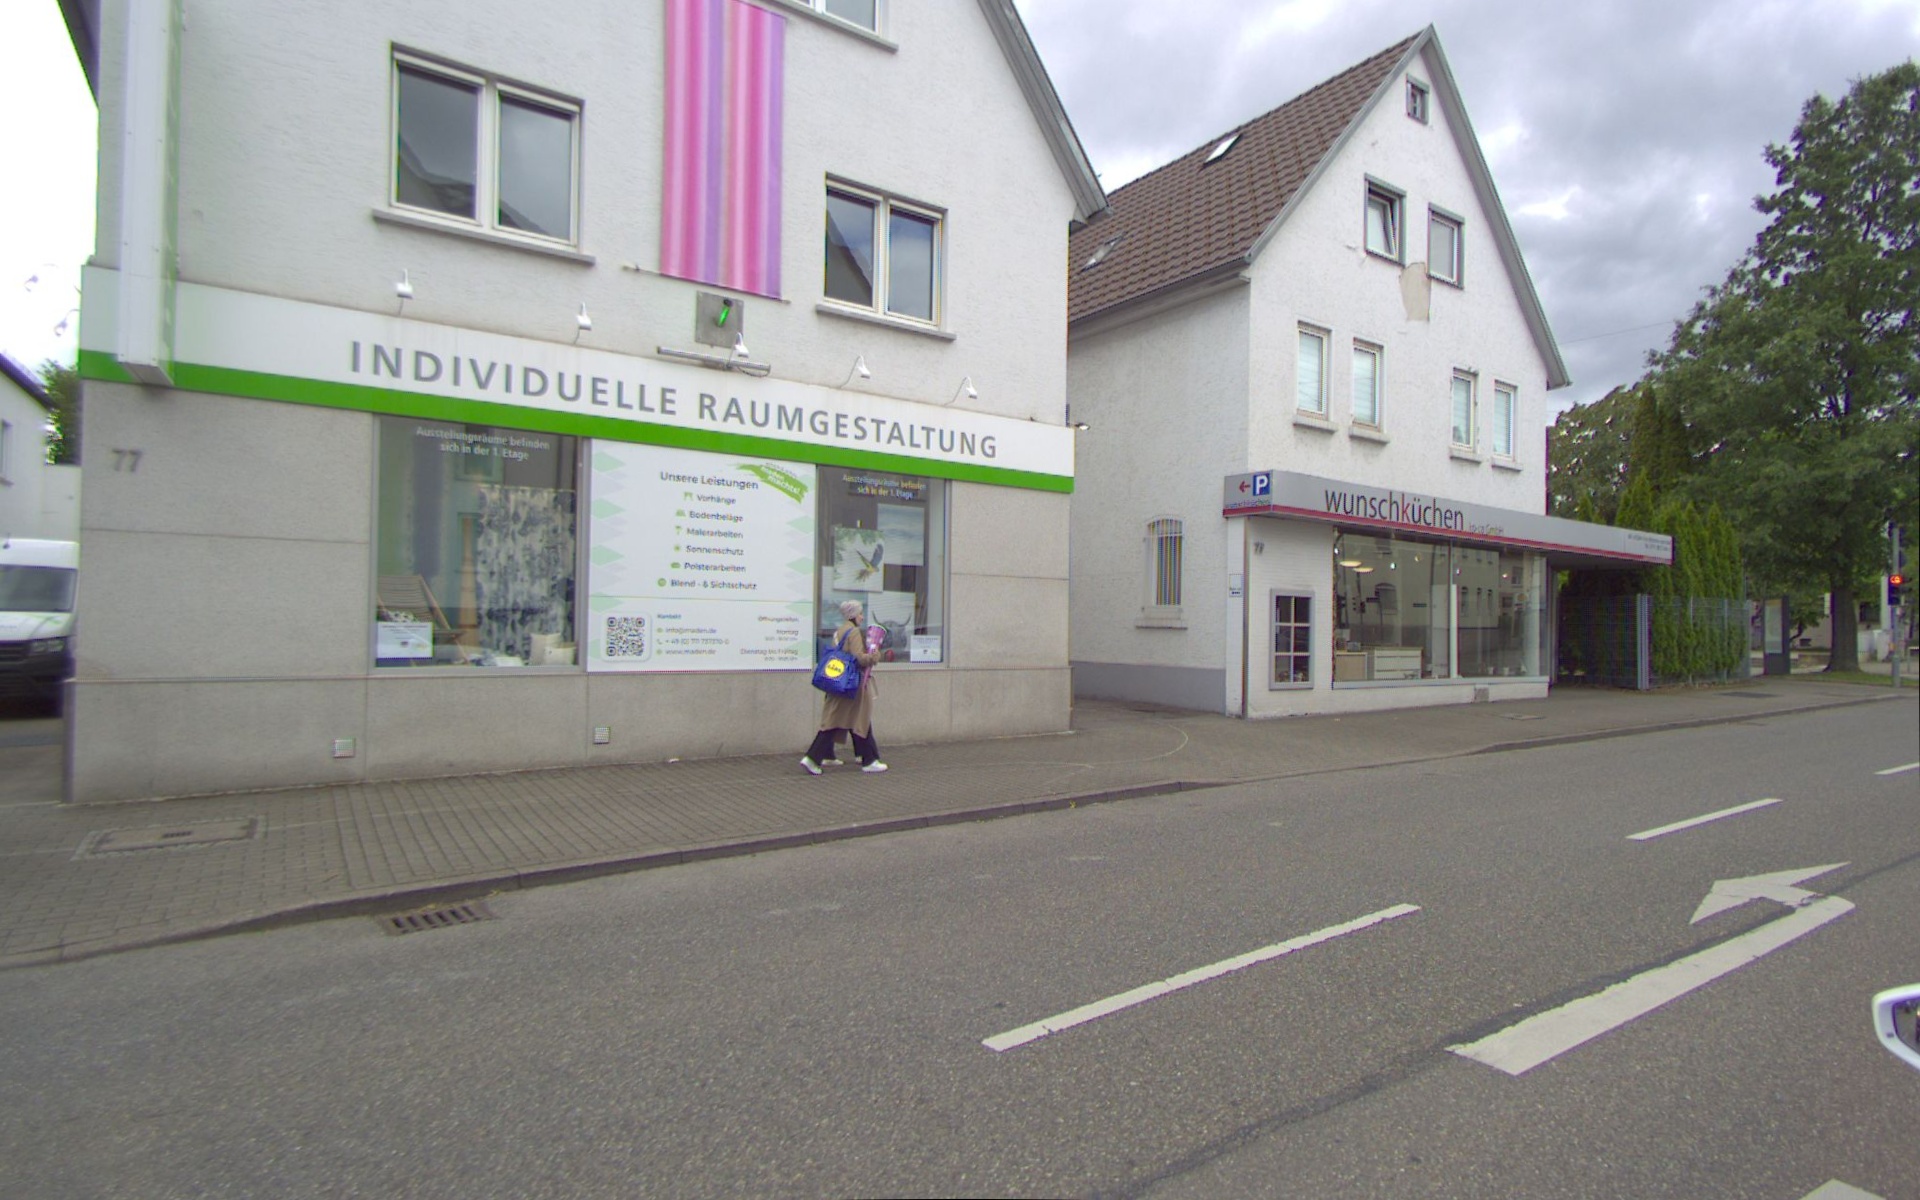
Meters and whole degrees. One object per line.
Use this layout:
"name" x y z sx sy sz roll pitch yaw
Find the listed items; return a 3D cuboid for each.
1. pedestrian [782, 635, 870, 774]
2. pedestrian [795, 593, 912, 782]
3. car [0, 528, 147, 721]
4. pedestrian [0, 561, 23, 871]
"pedestrian" -1.342 1.016 10.030 0.648 1.297 0.596 1 0 -33
"pedestrian" -1.000 0.779 9.377 0.784 1.638 0.747 1 2 -33
"car" -14.036 0.384 15.058 1.976 2.496 5.275 1 -2 -30
"pedestrian" -5.886 0.651 5.464 1.008 1.767 0.747 1 1 -33
